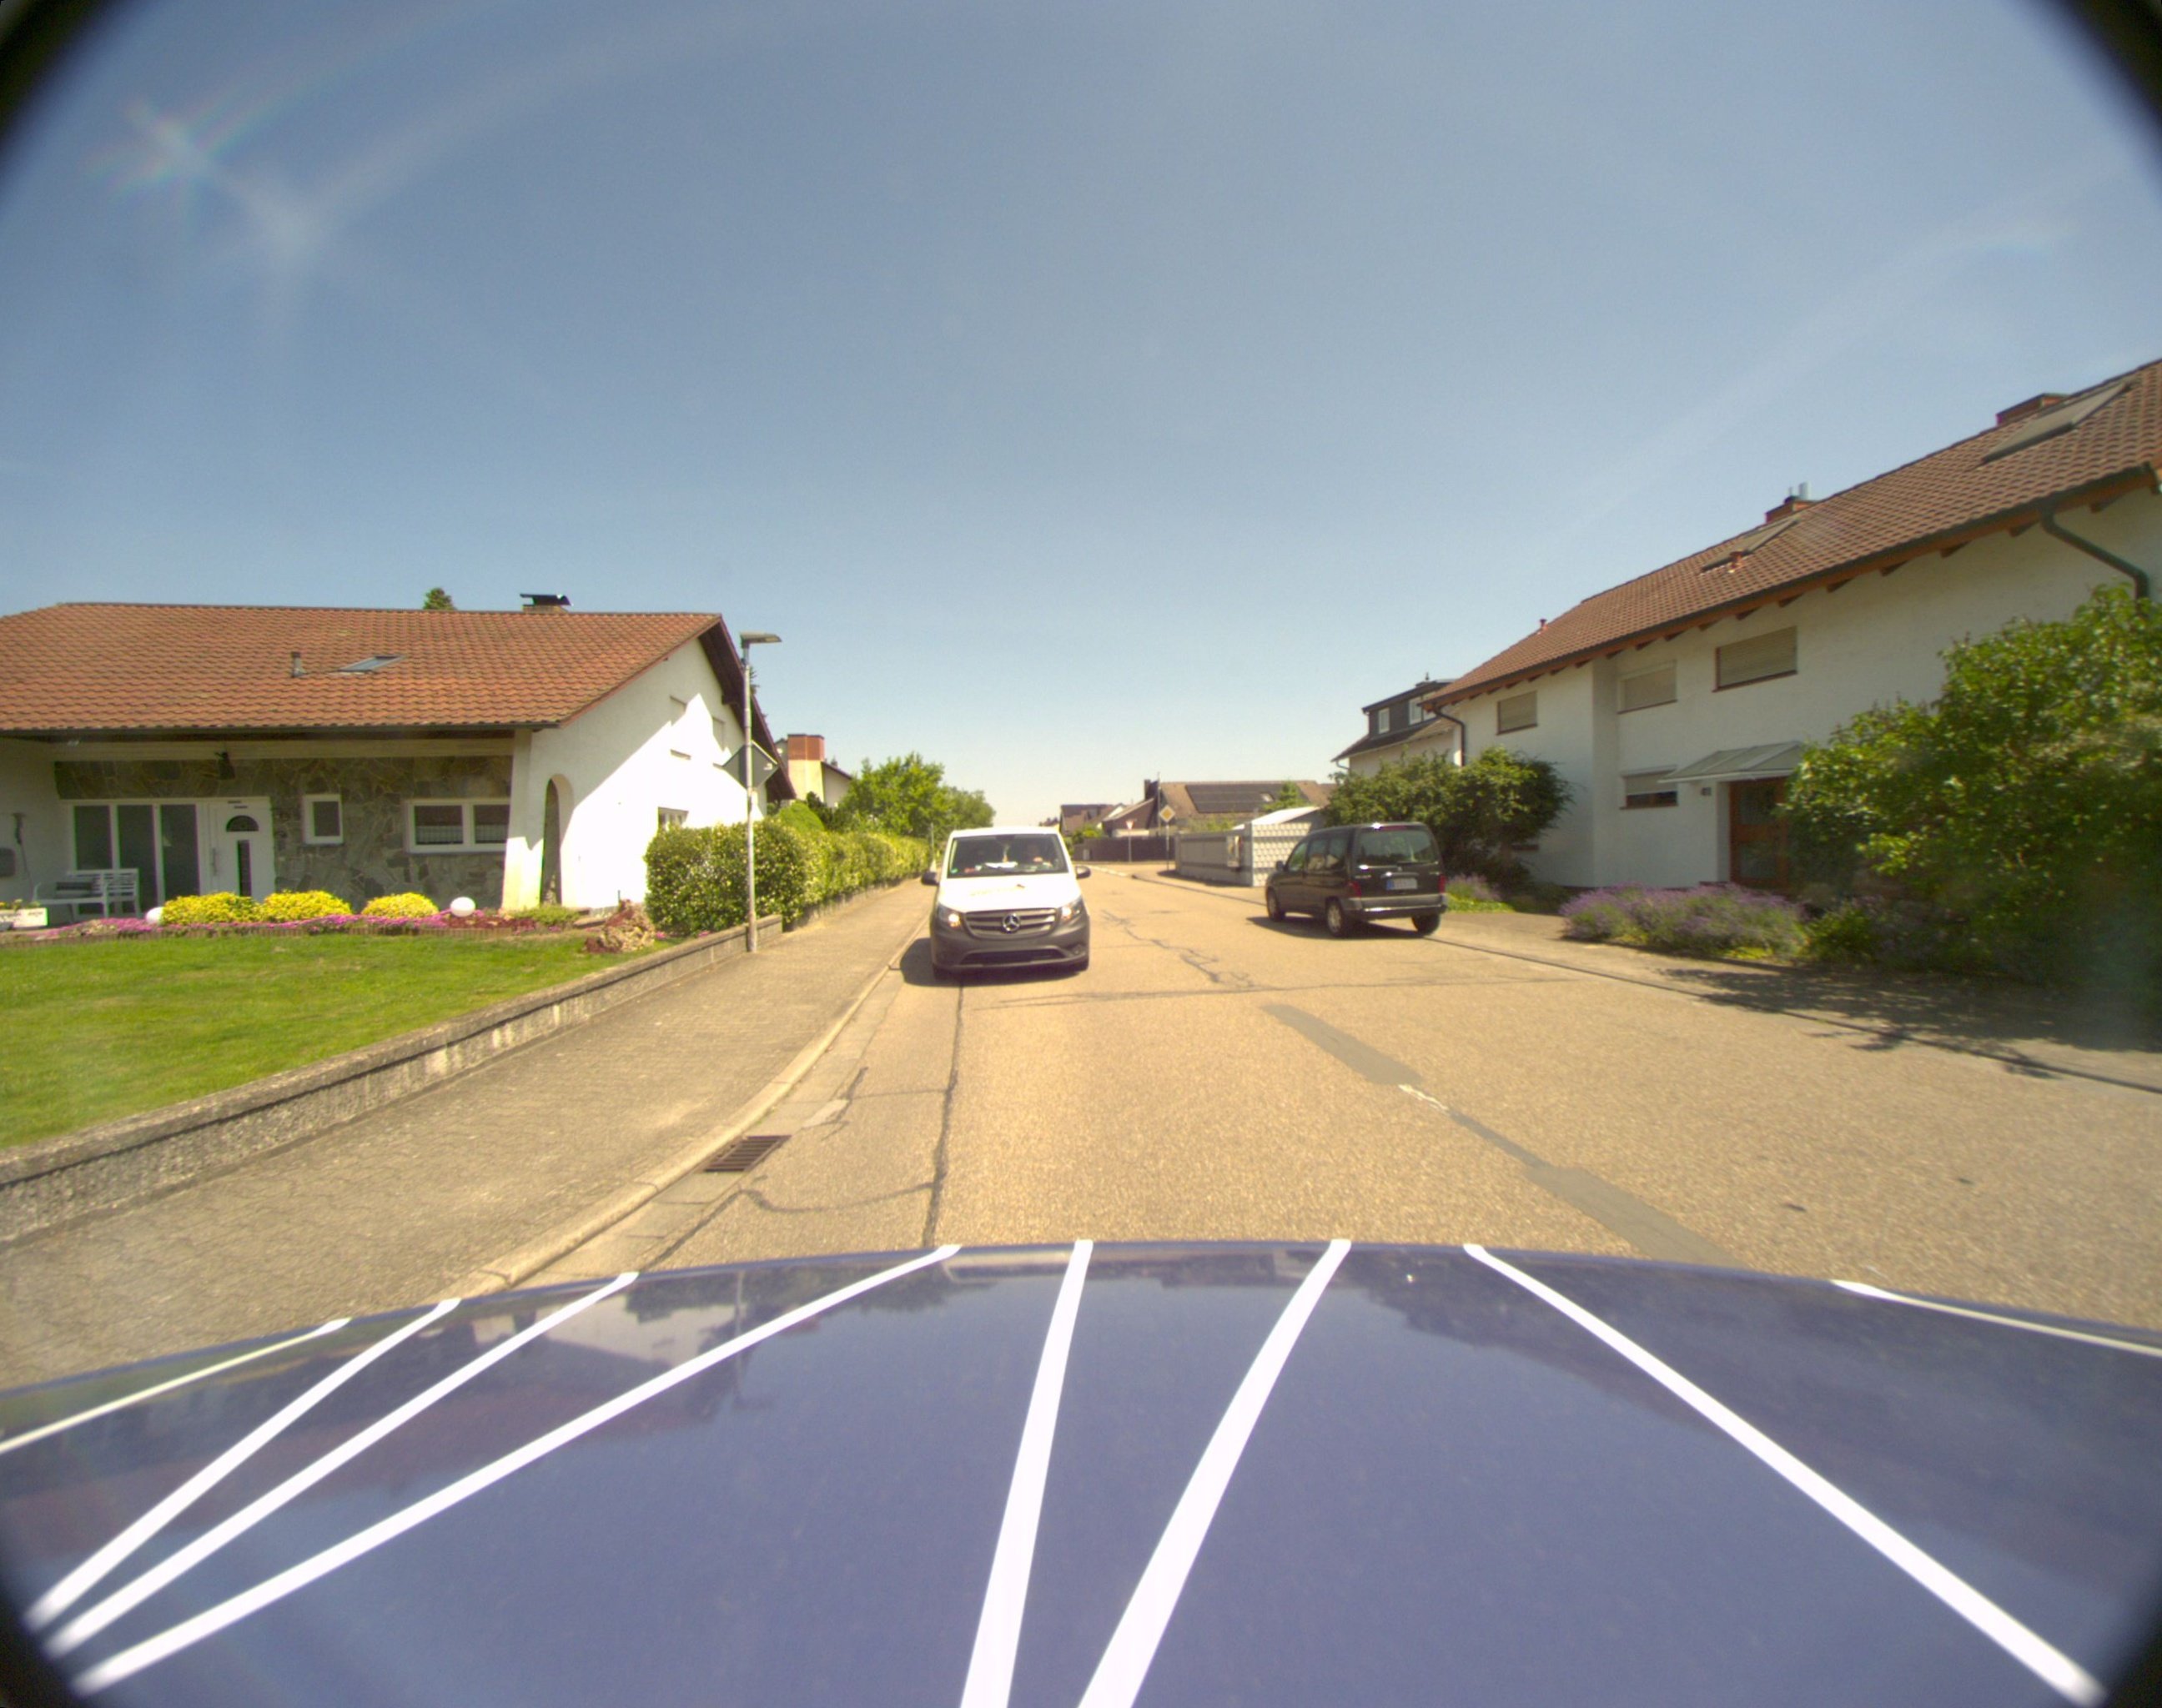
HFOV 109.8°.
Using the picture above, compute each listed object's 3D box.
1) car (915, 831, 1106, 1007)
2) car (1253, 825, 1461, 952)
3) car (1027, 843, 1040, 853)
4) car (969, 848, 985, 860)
[{"bbox_3d":[-1.093,0.634,10.739,2.019,1.846,5.063,-2,2,-8],"label":"car"},{"bbox_3d":[4.571,0.470,13.291,1.724,1.835,4.050,-2,1,-8],"label":"car"},{"bbox_3d":[-6.969,-0.855,111.751,1.808,1.390,3.998,-2,1,-4],"label":"car"},{"bbox_3d":[-14.932,-0.028,108.880,1.999,1.587,3.997,-1,2,-4],"label":"car"}]
